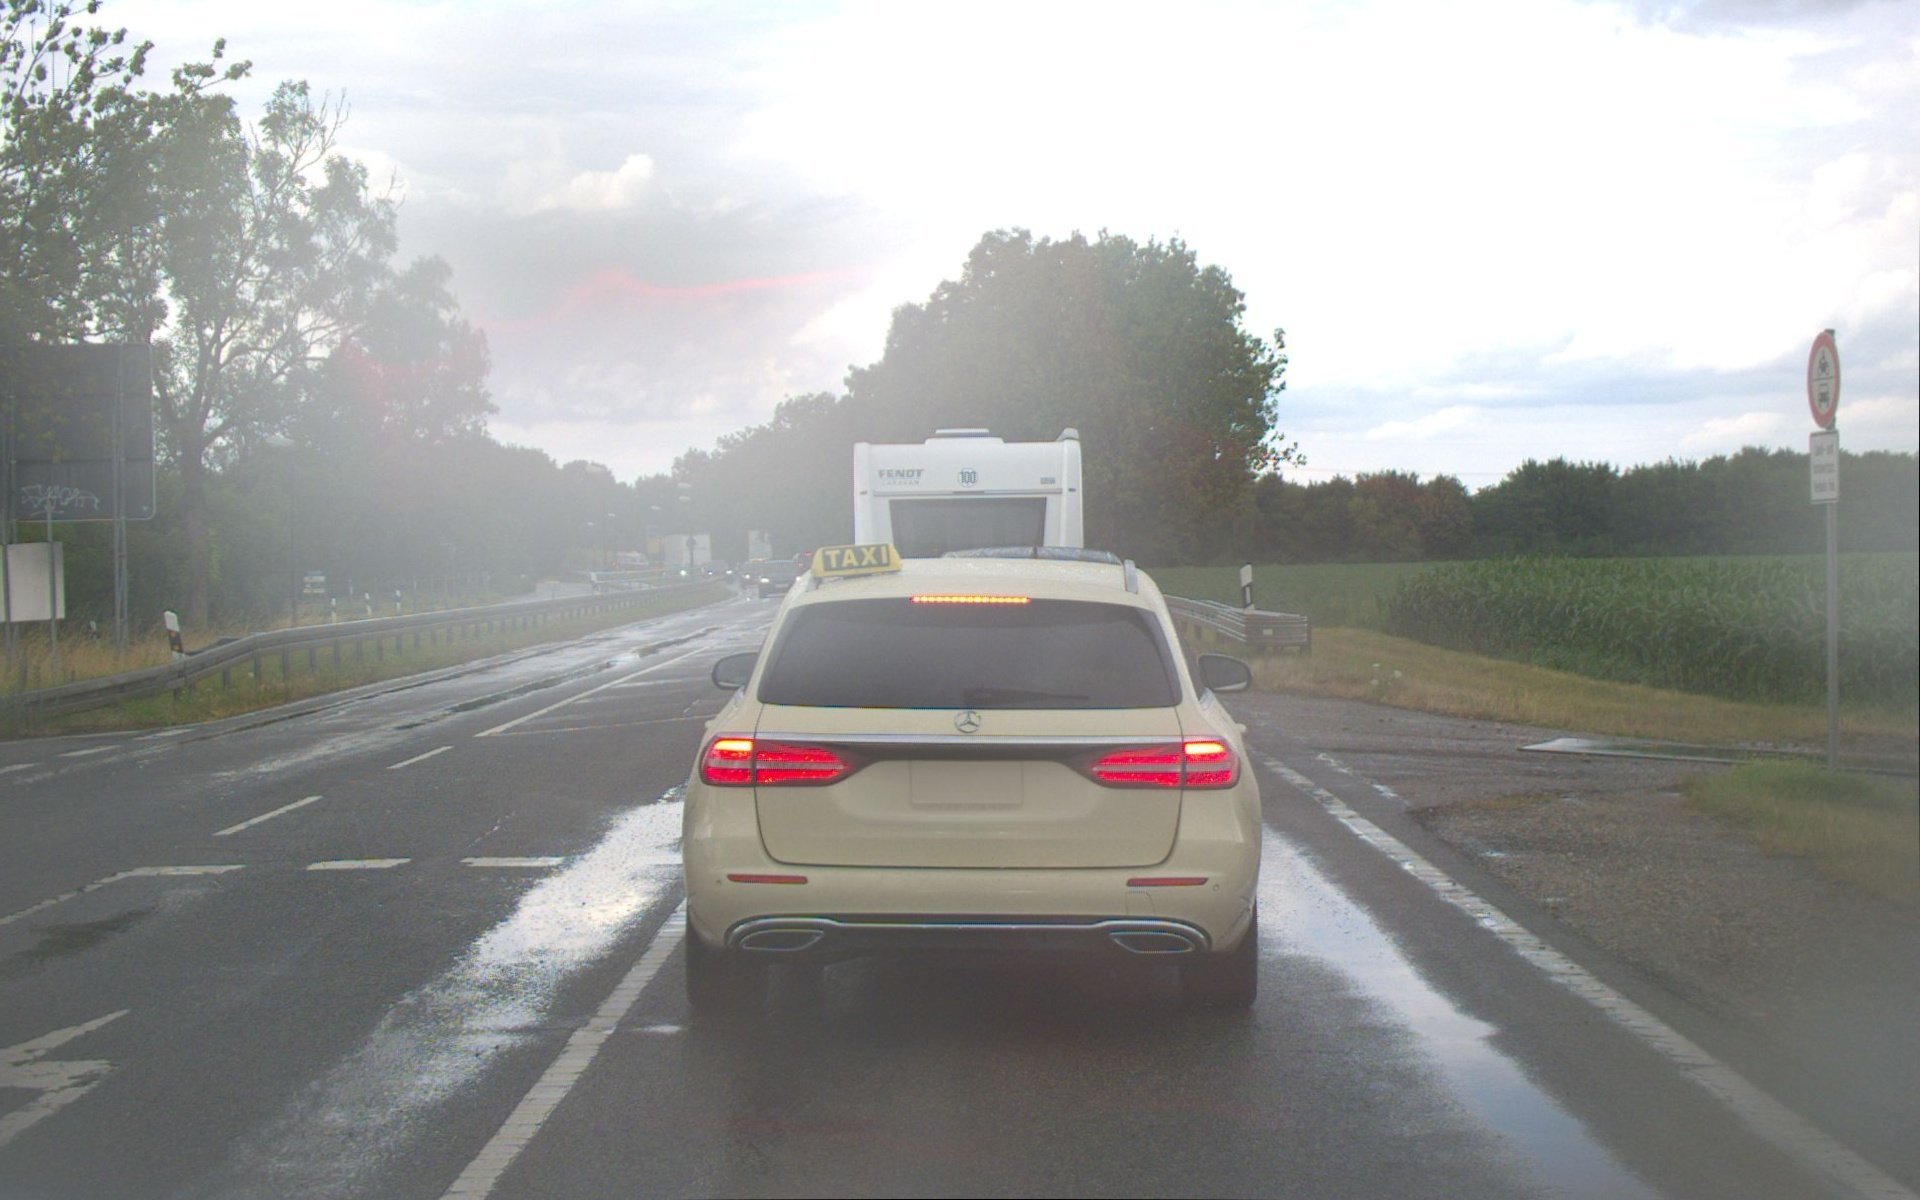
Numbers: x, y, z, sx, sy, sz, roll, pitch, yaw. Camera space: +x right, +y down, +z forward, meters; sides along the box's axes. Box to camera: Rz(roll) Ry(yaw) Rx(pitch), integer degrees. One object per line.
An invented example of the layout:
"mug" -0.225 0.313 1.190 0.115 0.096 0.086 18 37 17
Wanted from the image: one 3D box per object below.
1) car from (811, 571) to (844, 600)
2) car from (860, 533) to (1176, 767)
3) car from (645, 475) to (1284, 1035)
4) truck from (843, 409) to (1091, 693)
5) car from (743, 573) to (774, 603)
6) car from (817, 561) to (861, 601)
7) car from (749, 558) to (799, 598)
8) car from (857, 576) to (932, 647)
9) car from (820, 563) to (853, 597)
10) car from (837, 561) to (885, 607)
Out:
"car" -7.840 -0.864 203.315 1.748 1.656 3.673 -1 0 -5
"car" 0.351 0.318 24.035 1.993 1.457 4.000 1 0 -1
"car" -0.008 0.444 11.944 1.842 1.612 4.000 0 0 -1
"truck" 0.030 -0.504 37.188 2.363 2.719 7.314 -1 0 -1
"car" -11.465 -0.688 195.499 1.580 1.634 3.442 -1 0 -1
"car" -5.433 -0.867 154.976 1.879 1.755 3.834 -1 1 -1
"car" -7.535 -0.893 139.667 1.828 1.568 4.000 1 0 0
"car" -1.734 0.297 92.119 1.915 1.834 3.795 -1 0 0
"car" -6.841 -1.111 190.932 1.740 1.853 3.785 -1 0 -1
"car" -3.928 -0.631 136.463 1.791 1.771 3.721 -1 0 -1
